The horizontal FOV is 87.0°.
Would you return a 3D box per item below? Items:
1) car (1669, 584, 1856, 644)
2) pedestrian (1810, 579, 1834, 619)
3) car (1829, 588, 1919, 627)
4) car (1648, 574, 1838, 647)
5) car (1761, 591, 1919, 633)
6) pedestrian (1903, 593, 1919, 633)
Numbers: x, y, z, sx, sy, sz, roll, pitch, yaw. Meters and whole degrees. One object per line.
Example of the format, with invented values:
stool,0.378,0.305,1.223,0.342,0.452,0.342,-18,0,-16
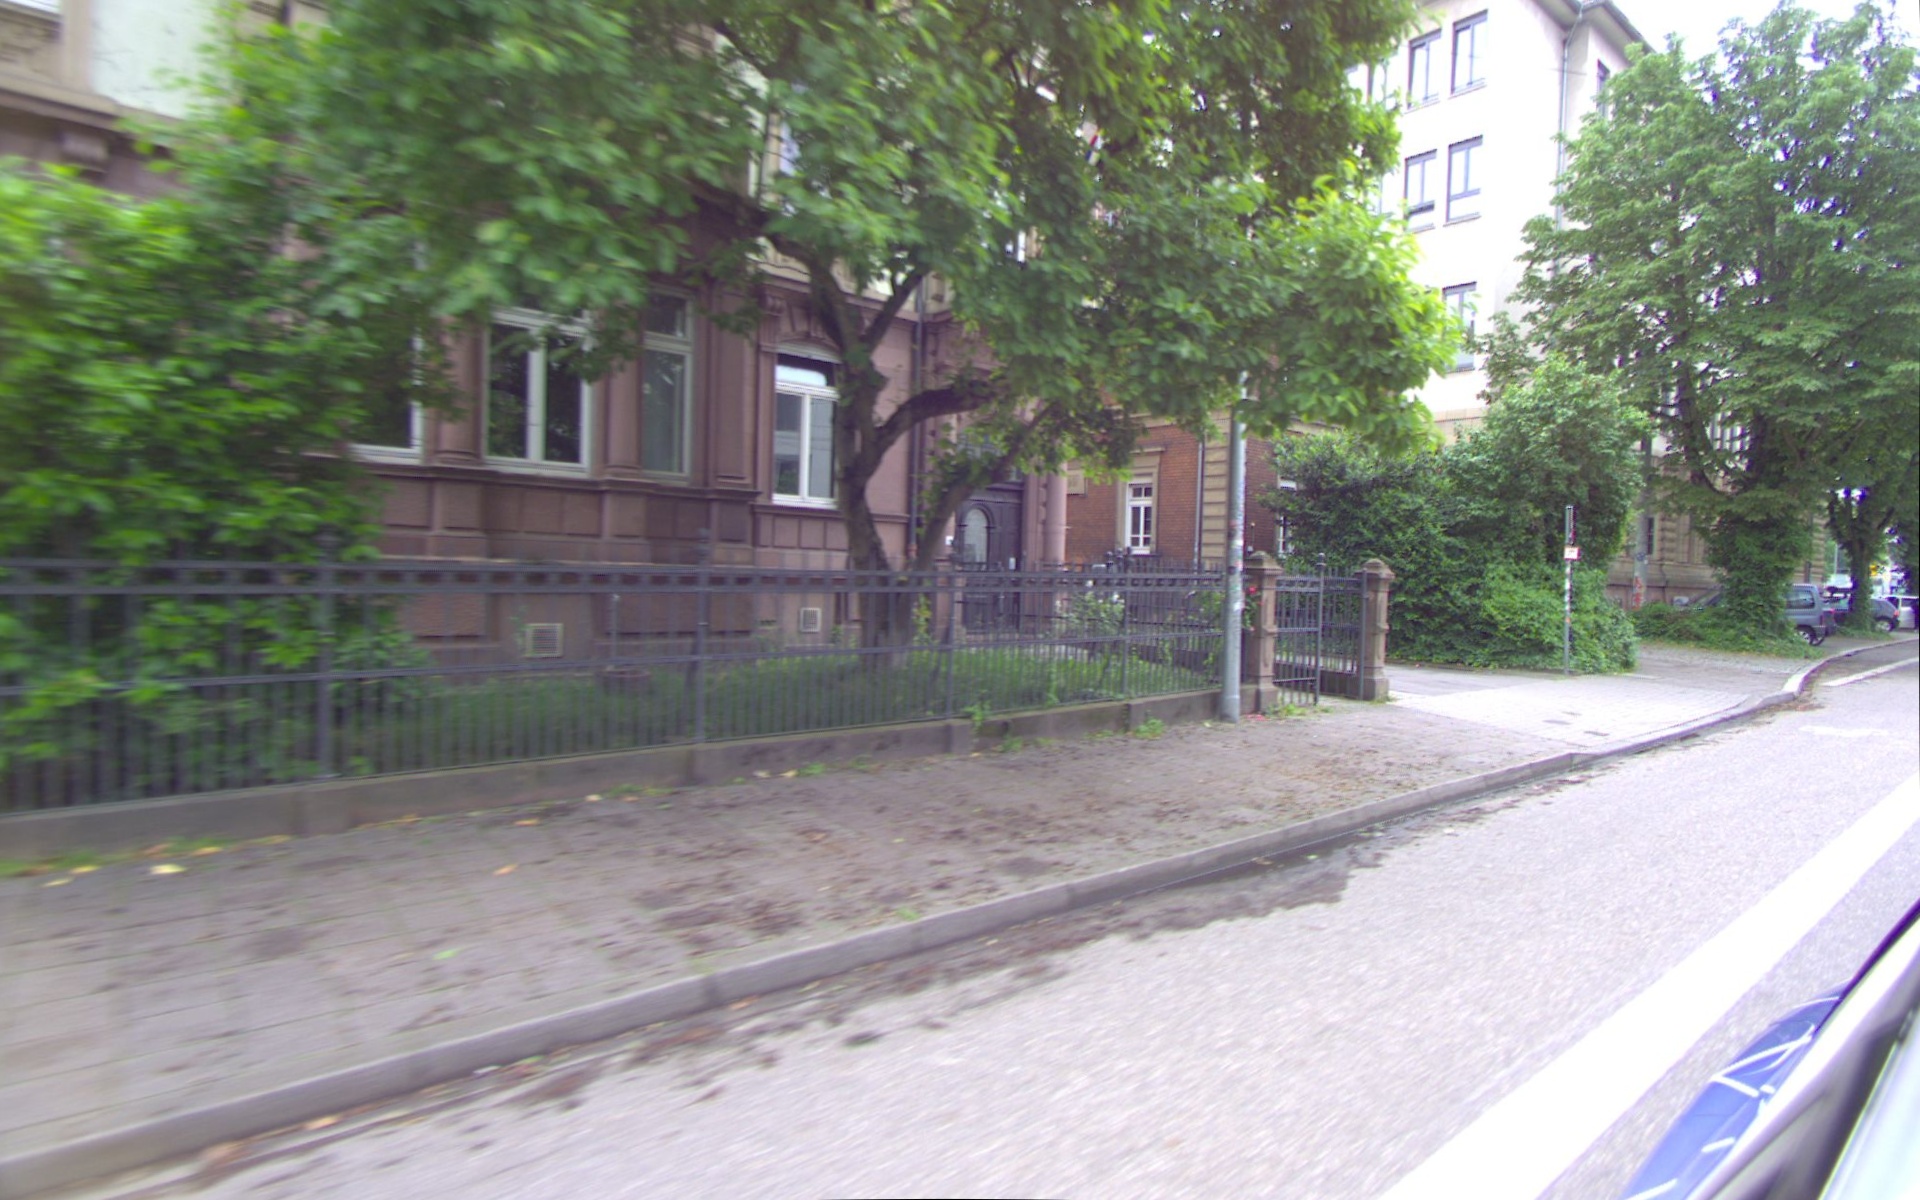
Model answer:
car,24.222,0.375,30.718,3.944,1.558,1.856,3,2,16
pedestrian,41.447,-0.040,48.662,0.738,1.861,0.680,0,3,-40
car,40.965,0.344,44.152,4.286,1.571,1.733,2,1,28
car,22.080,0.244,28.712,3.792,1.843,1.796,3,2,20
car,34.511,0.456,39.828,4.273,1.419,1.745,2,2,18
pedestrian,40.097,0.556,42.420,0.638,1.646,0.586,2,1,27
